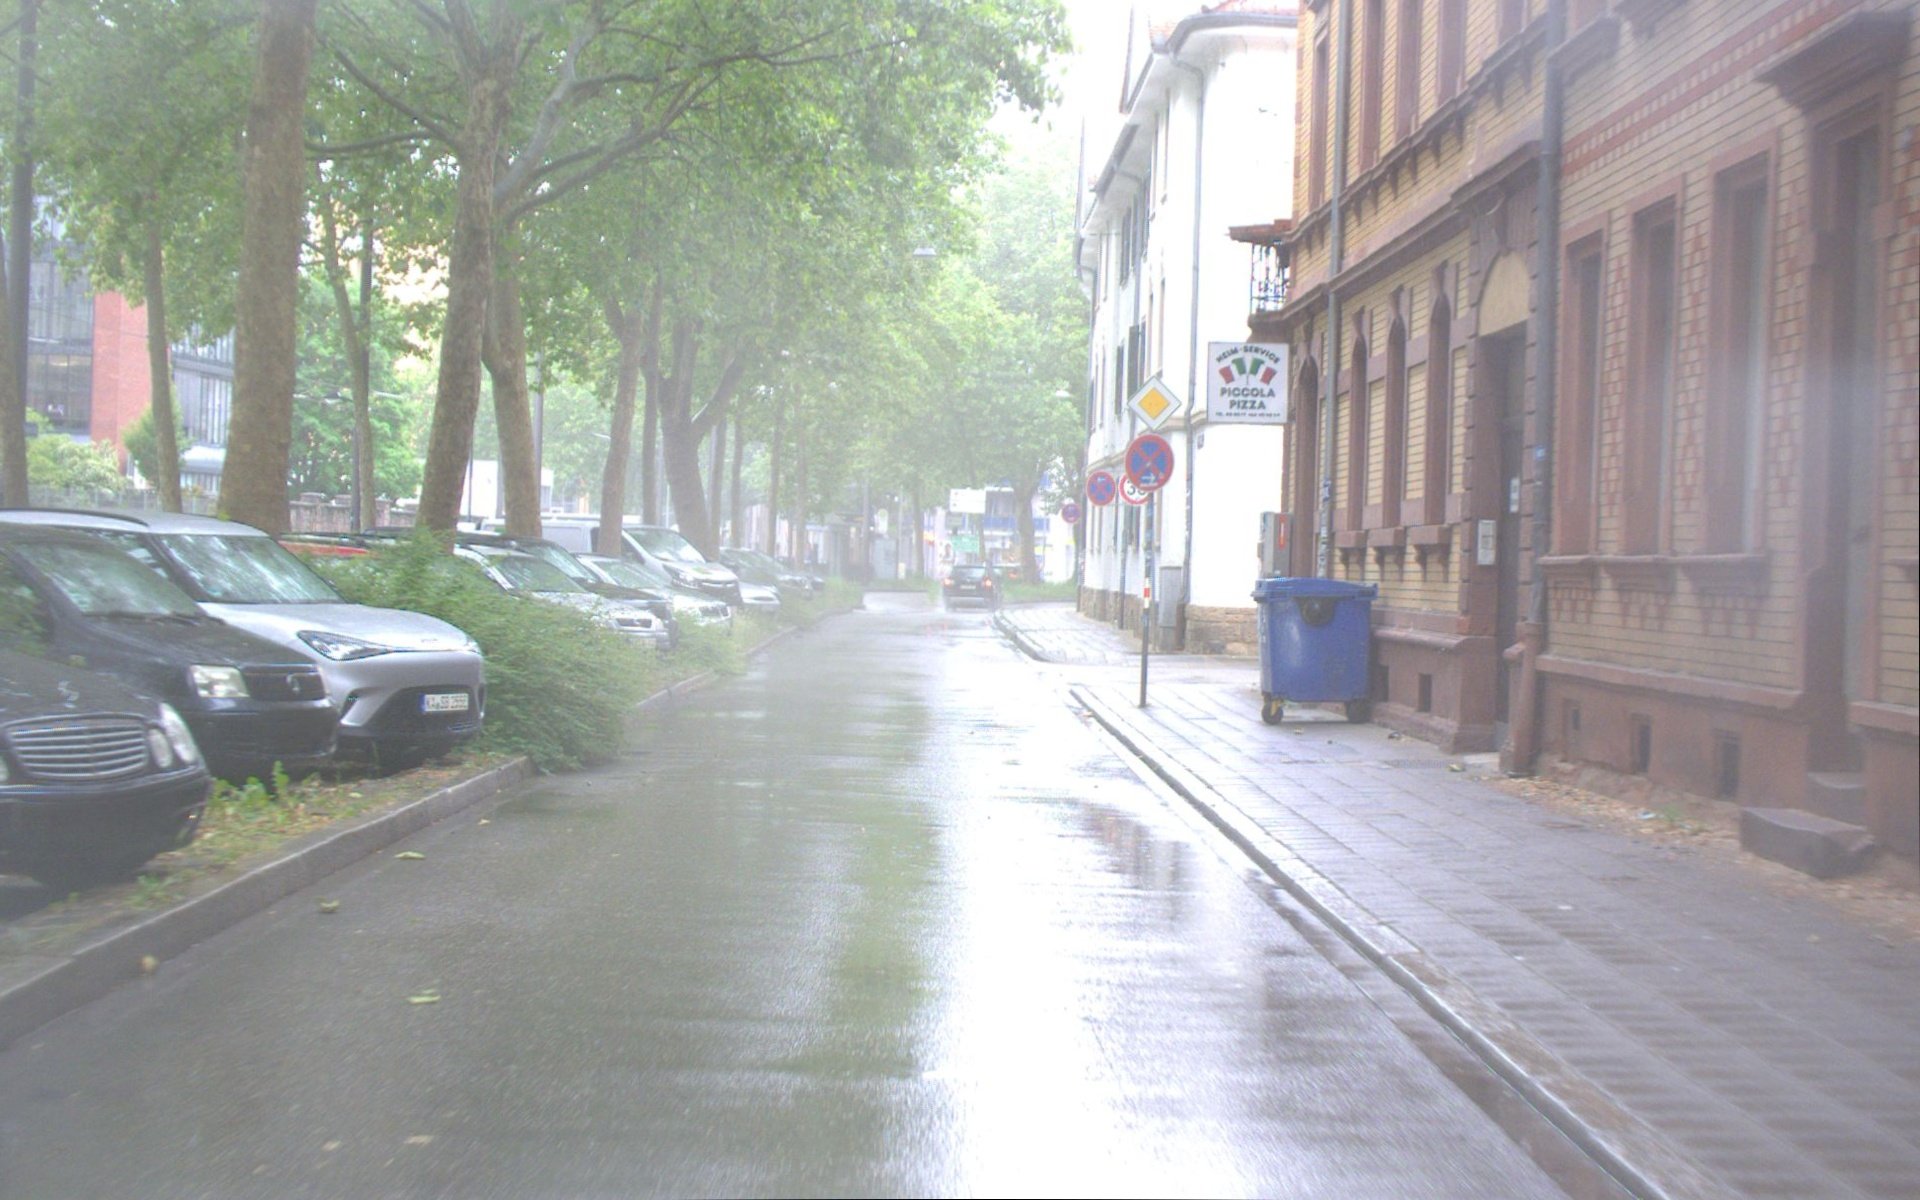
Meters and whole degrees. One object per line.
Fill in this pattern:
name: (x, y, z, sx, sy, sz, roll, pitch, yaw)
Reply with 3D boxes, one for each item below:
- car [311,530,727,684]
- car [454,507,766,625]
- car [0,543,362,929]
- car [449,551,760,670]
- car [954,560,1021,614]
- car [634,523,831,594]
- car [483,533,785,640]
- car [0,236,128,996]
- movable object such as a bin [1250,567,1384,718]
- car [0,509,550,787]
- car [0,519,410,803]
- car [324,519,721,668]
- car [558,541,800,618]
car: (-4.958, 0.076, 38.530, 4.411, 1.640, 1.868, 0, 0, 31)
car: (-6.082, -0.605, 59.588, 5.124, 1.971, 2.099, 1, 1, 30)
car: (-4.847, 0.420, 13.734, 4.652, 1.321, 1.844, 1, 1, 27)
car: (-5.100, 0.123, 49.340, 4.061, 1.494, 1.745, 3, 2, 23)
car: (0.866, -0.424, 111.320, 1.993, 1.634, 4.000, 2, 0, -1)
car: (-5.628, -1.034, 84.973, 4.465, 1.591, 1.920, 2, 1, 26)
car: (-5.006, -0.223, 52.759, 4.308, 1.432, 1.745, 3, 2, 26)
car: (-5.100, 0.002, 11.125, 4.654, 2.275, 2.008, 2, 1, 33)
movable object such as a bin: (3.255, 0.370, 31.482, 1.021, 1.297, 1.367, -2, 1, -1)
car: (-4.840, 0.245, 22.062, 4.059, 1.532, 1.832, 3, 2, 30)
car: (-5.055, 0.285, 19.352, 3.503, 1.462, 1.641, 1, 1, 21)
car: (-5.275, -0.101, 41.338, 4.410, 1.654, 1.927, 2, 1, 27)
car: (-5.561, -0.414, 67.830, 4.553, 1.477, 1.772, 1, 1, 30)
